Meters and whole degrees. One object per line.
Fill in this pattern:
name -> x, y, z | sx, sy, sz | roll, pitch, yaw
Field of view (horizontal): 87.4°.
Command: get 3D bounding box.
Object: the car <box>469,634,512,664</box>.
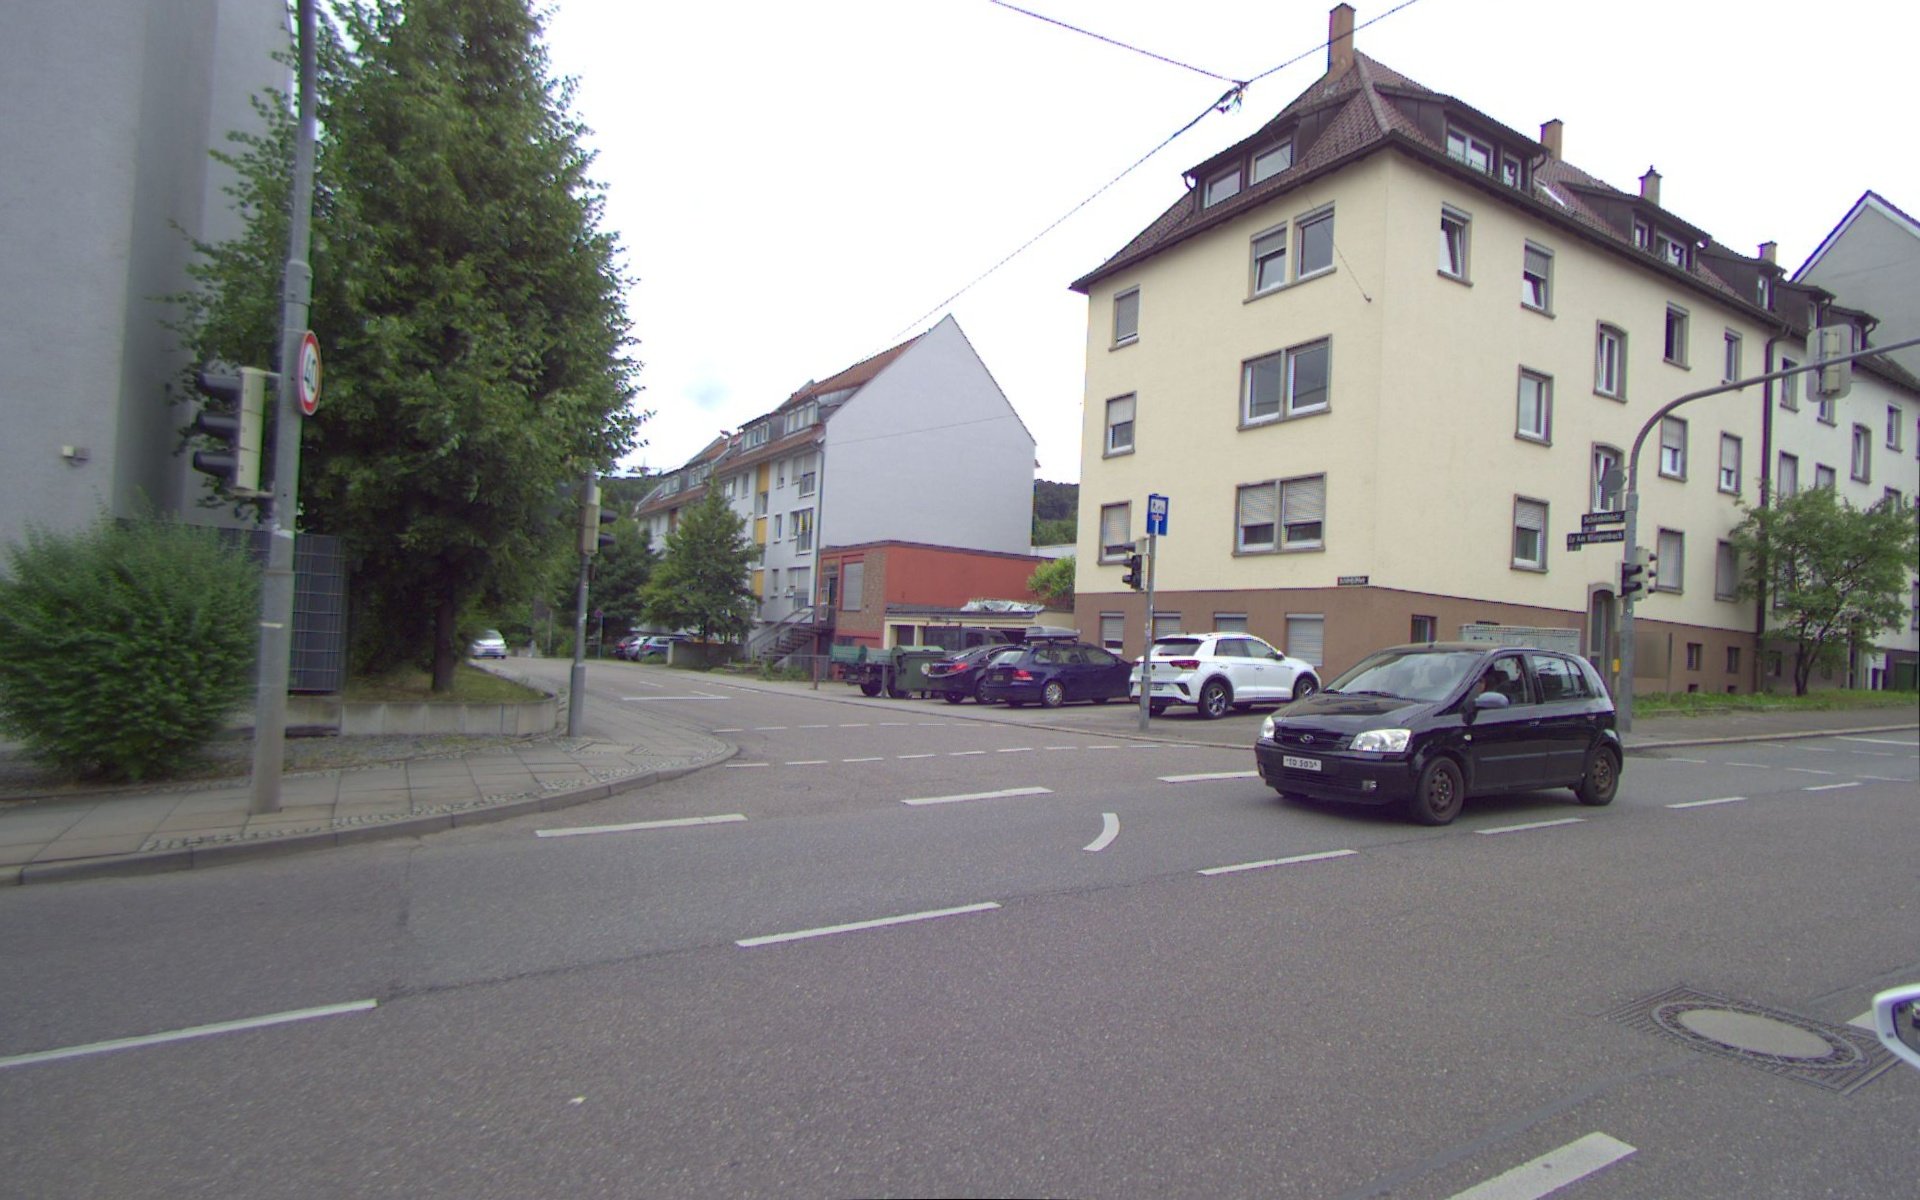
car -> -24.872, 2.563, 53.150 | 1.656, 1.380, 3.966 | 1, -1, -31

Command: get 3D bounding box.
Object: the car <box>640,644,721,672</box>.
car -> -15.089, 3.099, 54.328 | 3.953, 1.380, 1.662 | 1, 0, -30

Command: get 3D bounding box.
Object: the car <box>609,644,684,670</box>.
car -> -18.484, 3.335, 59.231 | 3.953, 1.380, 1.662 | 1, 0, -30

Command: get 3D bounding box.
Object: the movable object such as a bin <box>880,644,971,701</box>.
movable object such as a bin -> -0.973, 2.014, 28.209 | 2.128, 1.448, 1.413 | 1, 1, -30

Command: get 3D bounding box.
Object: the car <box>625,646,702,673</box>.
car -> -16.762, 3.340, 56.827 | 3.953, 1.380, 1.662 | 1, 0, -30

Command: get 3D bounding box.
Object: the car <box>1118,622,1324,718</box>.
car -> 5.079, 1.302, 19.404 | 3.959, 1.683, 1.660 | 1, -3, -35

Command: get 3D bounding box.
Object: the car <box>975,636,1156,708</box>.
car -> 2.509, 1.648, 23.647 | 4.053, 1.566, 1.662 | 1, -4, -30

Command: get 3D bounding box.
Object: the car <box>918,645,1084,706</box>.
car -> 1.071, 1.866, 25.652 | 3.953, 1.380, 1.662 | 1, 0, -30

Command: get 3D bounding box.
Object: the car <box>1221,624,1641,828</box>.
car -> 4.376, 1.044, 9.261 | 3.695, 1.538, 1.657 | 1, -4, -30

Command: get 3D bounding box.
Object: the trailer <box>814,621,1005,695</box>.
trailer -> -1.465, 1.665, 29.834 | 5.225, 1.954, 2.220 | 1, 0, -29

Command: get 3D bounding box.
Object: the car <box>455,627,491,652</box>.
car -> -30.049, 2.414, 61.885 | 1.656, 1.380, 3.966 | 1, -1, -31
